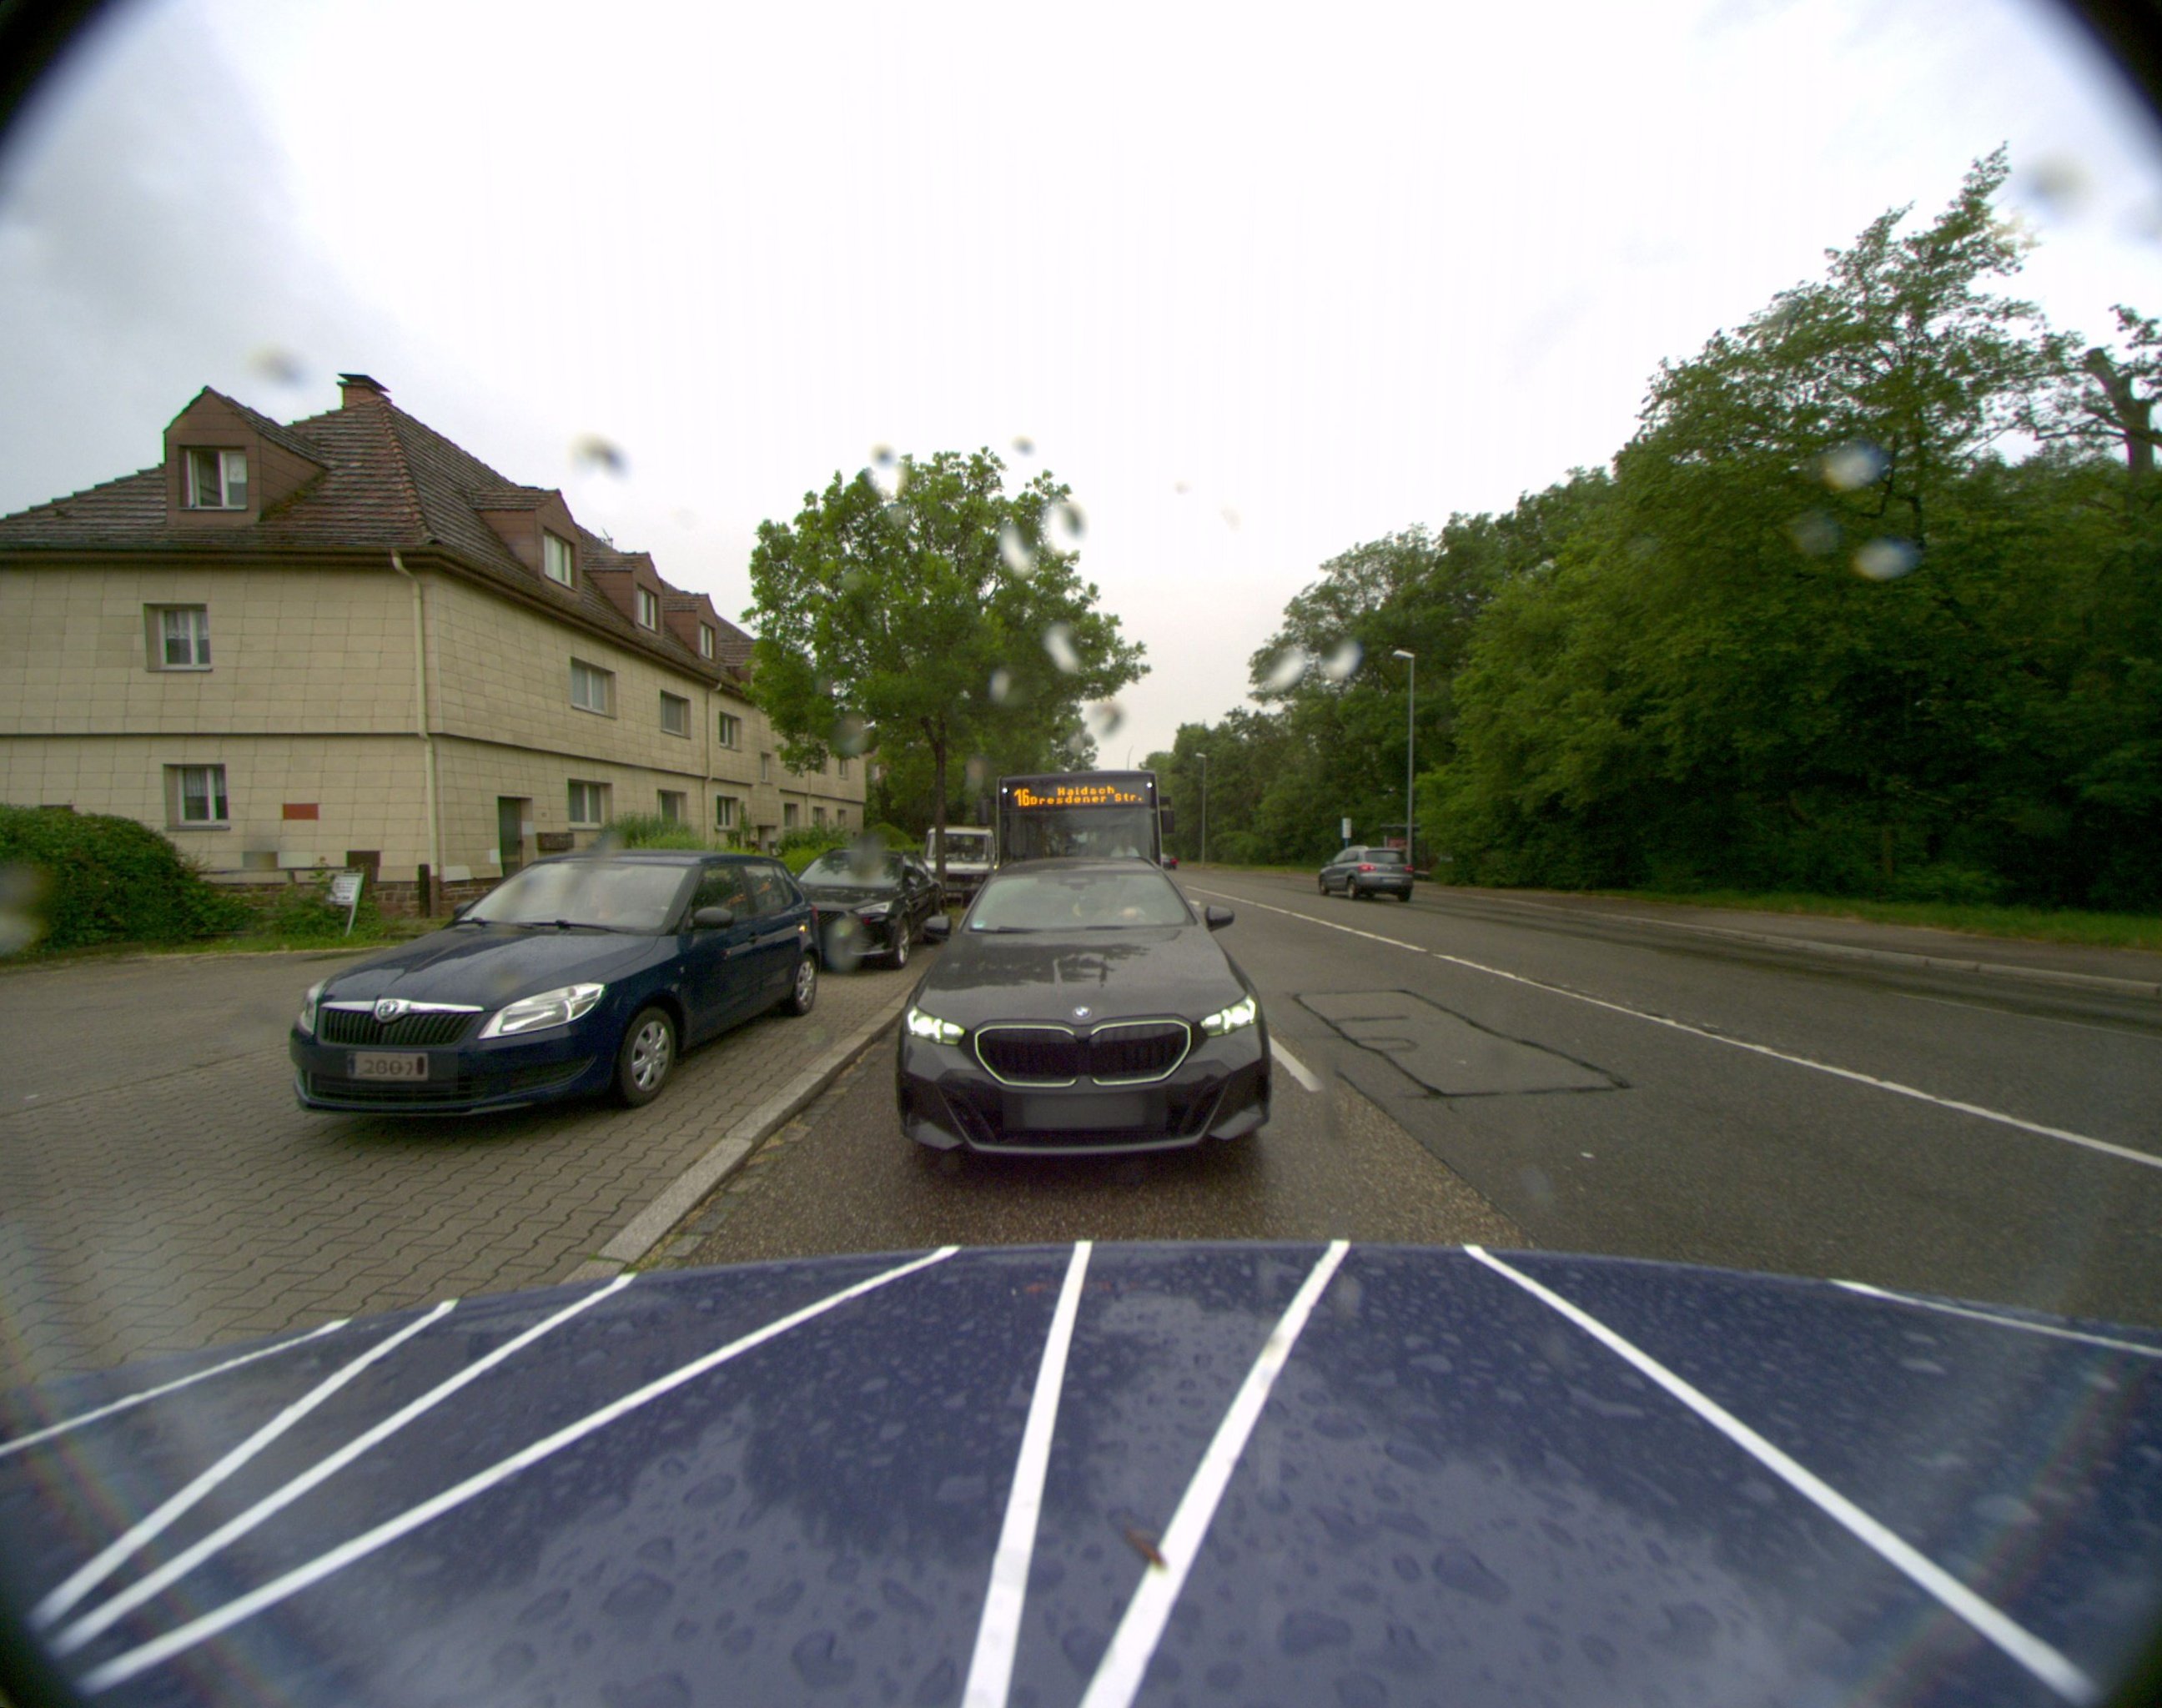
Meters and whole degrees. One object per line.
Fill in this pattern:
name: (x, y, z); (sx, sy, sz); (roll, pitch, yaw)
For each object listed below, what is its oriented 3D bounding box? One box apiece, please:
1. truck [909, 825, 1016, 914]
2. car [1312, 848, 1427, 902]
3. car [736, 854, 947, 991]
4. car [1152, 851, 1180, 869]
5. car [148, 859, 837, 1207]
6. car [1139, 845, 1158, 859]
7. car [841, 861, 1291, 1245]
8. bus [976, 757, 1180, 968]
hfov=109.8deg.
truck: (-3.170, 0.372, 21.644); (1.998, 2.184, 5.756); (0, 0, 2)
car: (9.145, 0.602, 24.490); (1.913, 1.581, 4.316); (0, 0, -2)
car: (-3.075, 0.782, 10.653); (1.720, 1.456, 3.999); (1, 1, -1)
car: (7.901, 0.519, 71.253); (1.915, 1.445, 4.947); (3, 1, -1)
car: (-3.259, 0.813, 5.374); (1.720, 1.416, 3.999); (1, 1, 1)
car: (7.470, -0.239, 84.087); (1.598, 1.420, 3.904); (1, 0, -1)
car: (-0.035, 0.888, 5.461); (1.882, 1.520, 4.316); (-3, 0, 1)
bus: (0.085, 0.049, 15.345); (2.767, 2.858, 9.402); (-2, 1, 2)
